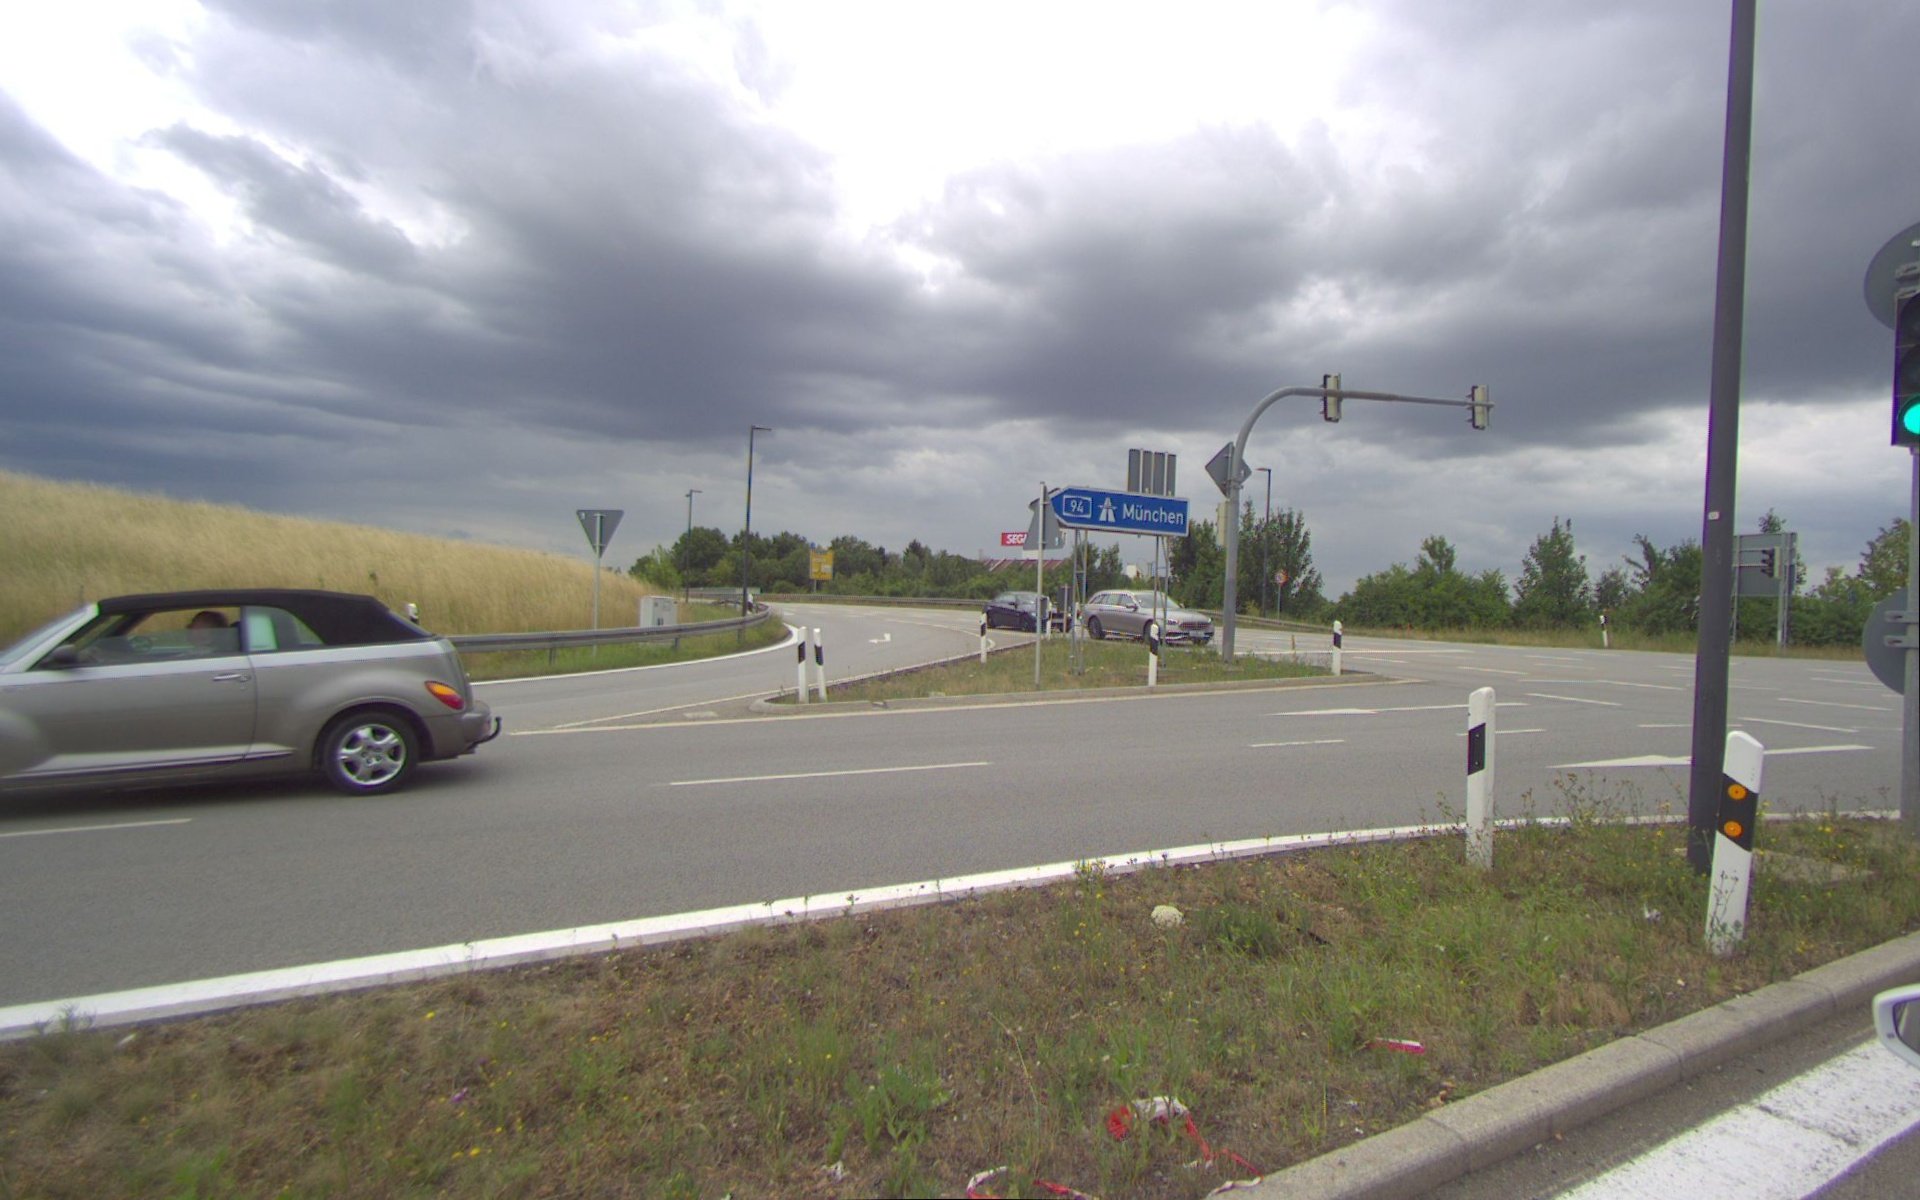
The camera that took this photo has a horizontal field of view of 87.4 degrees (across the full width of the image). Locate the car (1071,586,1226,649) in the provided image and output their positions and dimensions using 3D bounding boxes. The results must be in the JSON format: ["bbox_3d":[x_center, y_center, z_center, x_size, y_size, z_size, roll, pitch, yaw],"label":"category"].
[{"bbox_3d":[5.353,0.437,29.244,1.895,1.632,4.916,0,1,-26],"label":"car"}]

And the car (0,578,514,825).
[{"bbox_3d":[-5.718,0.630,7.531,4.192,1.541,1.801,0,1,-30],"label":"car"}]

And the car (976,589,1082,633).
[{"bbox_3d":[2.365,0.342,35.717,1.690,1.429,4.644,2,0,-26],"label":"car"}]
